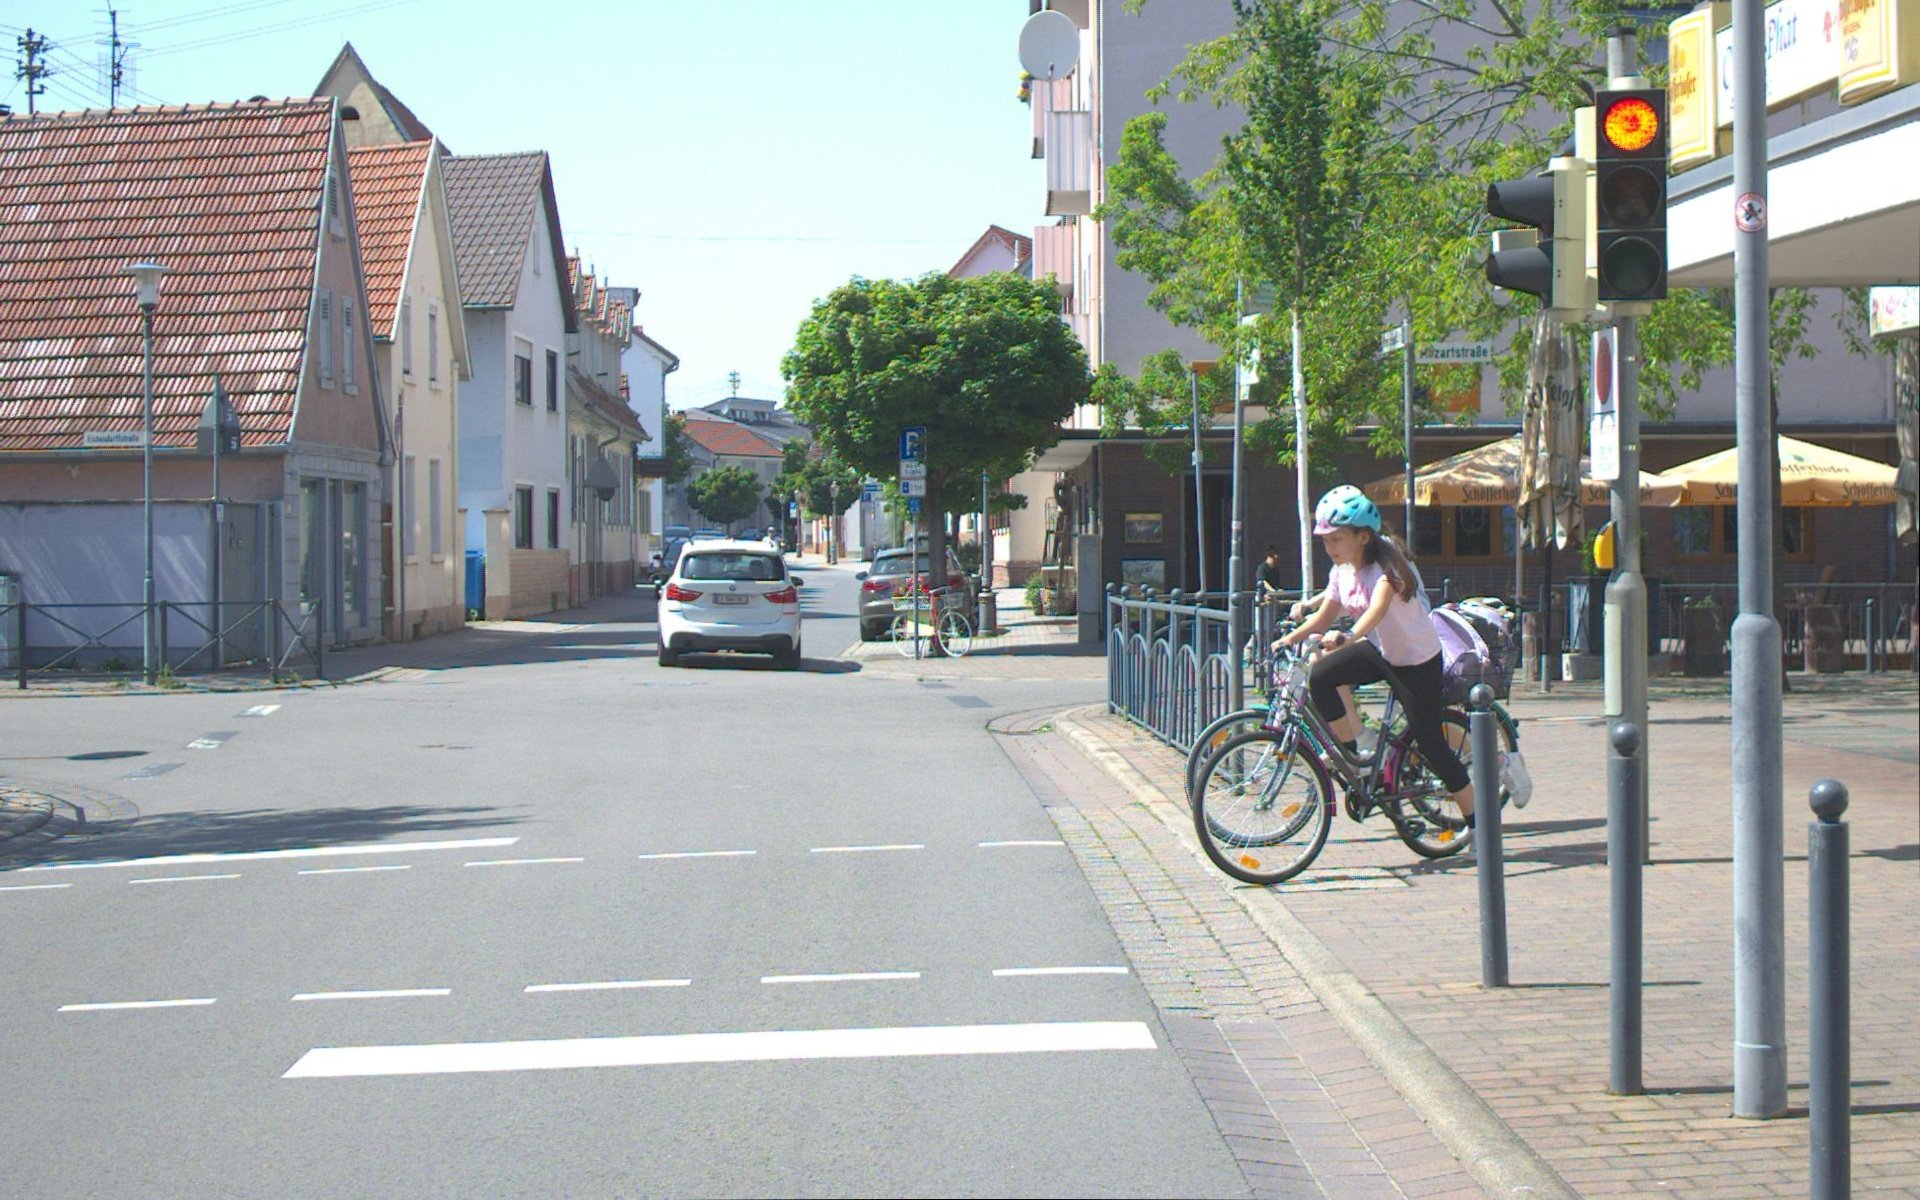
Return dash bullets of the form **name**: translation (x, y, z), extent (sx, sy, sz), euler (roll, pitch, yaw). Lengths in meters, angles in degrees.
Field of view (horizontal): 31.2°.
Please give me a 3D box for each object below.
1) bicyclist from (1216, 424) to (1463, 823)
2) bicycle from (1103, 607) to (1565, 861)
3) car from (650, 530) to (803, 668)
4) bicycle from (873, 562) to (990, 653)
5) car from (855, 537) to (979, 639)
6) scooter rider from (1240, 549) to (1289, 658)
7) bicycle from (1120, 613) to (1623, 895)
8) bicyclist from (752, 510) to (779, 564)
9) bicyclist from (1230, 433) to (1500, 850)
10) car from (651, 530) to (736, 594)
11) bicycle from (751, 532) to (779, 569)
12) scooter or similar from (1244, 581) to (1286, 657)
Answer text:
- **bicyclist**: translation (1.644, 0.089, 14.919), extent (0.759, 1.658, 0.671), euler (-3, 1, -26)
- **bicycle**: translation (1.631, 0.554, 14.918), extent (1.889, 0.954, 0.676), euler (-3, 1, -26)
- **car**: translation (-3.065, -0.052, 44.450), extent (1.833, 1.646, 4.001), euler (1, 2, -6)
- **bicycle**: translation (-0.383, 0.090, 45.565), extent (0.525, 1.189, 1.674), euler (-1, 1, -44)
- **car**: translation (-0.643, -0.218, 54.288), extent (1.805, 1.496, 4.000), euler (0, 1, 1)
- **scooter rider**: translation (3.587, 0.037, 40.501), extent (0.516, 1.281, 0.418), euler (0, 1, 12)
- **bicycle**: translation (1.647, 0.585, 13.683), extent (1.889, 0.954, 0.676), euler (-3, 2, -26)
- **bicyclist**: translation (-5.402, -1.753, 95.598), extent (0.673, 1.477, 0.770), euler (-1, 1, 0)
- **bicyclist**: translation (1.605, 0.151, 13.658), extent (0.759, 1.576, 0.671), euler (-3, 2, -25)
- **car**: translation (-6.527, -0.943, 84.505), extent (1.714, 1.512, 3.786), euler (0, 1, 1)
- **bicycle**: translation (-5.415, -1.376, 95.574), extent (0.664, 1.003, 1.897), euler (-1, 1, 0)
- **scooter or similar**: translation (3.594, 0.223, 40.504), extent (0.379, 0.870, 0.890), euler (0, 1, 12)
